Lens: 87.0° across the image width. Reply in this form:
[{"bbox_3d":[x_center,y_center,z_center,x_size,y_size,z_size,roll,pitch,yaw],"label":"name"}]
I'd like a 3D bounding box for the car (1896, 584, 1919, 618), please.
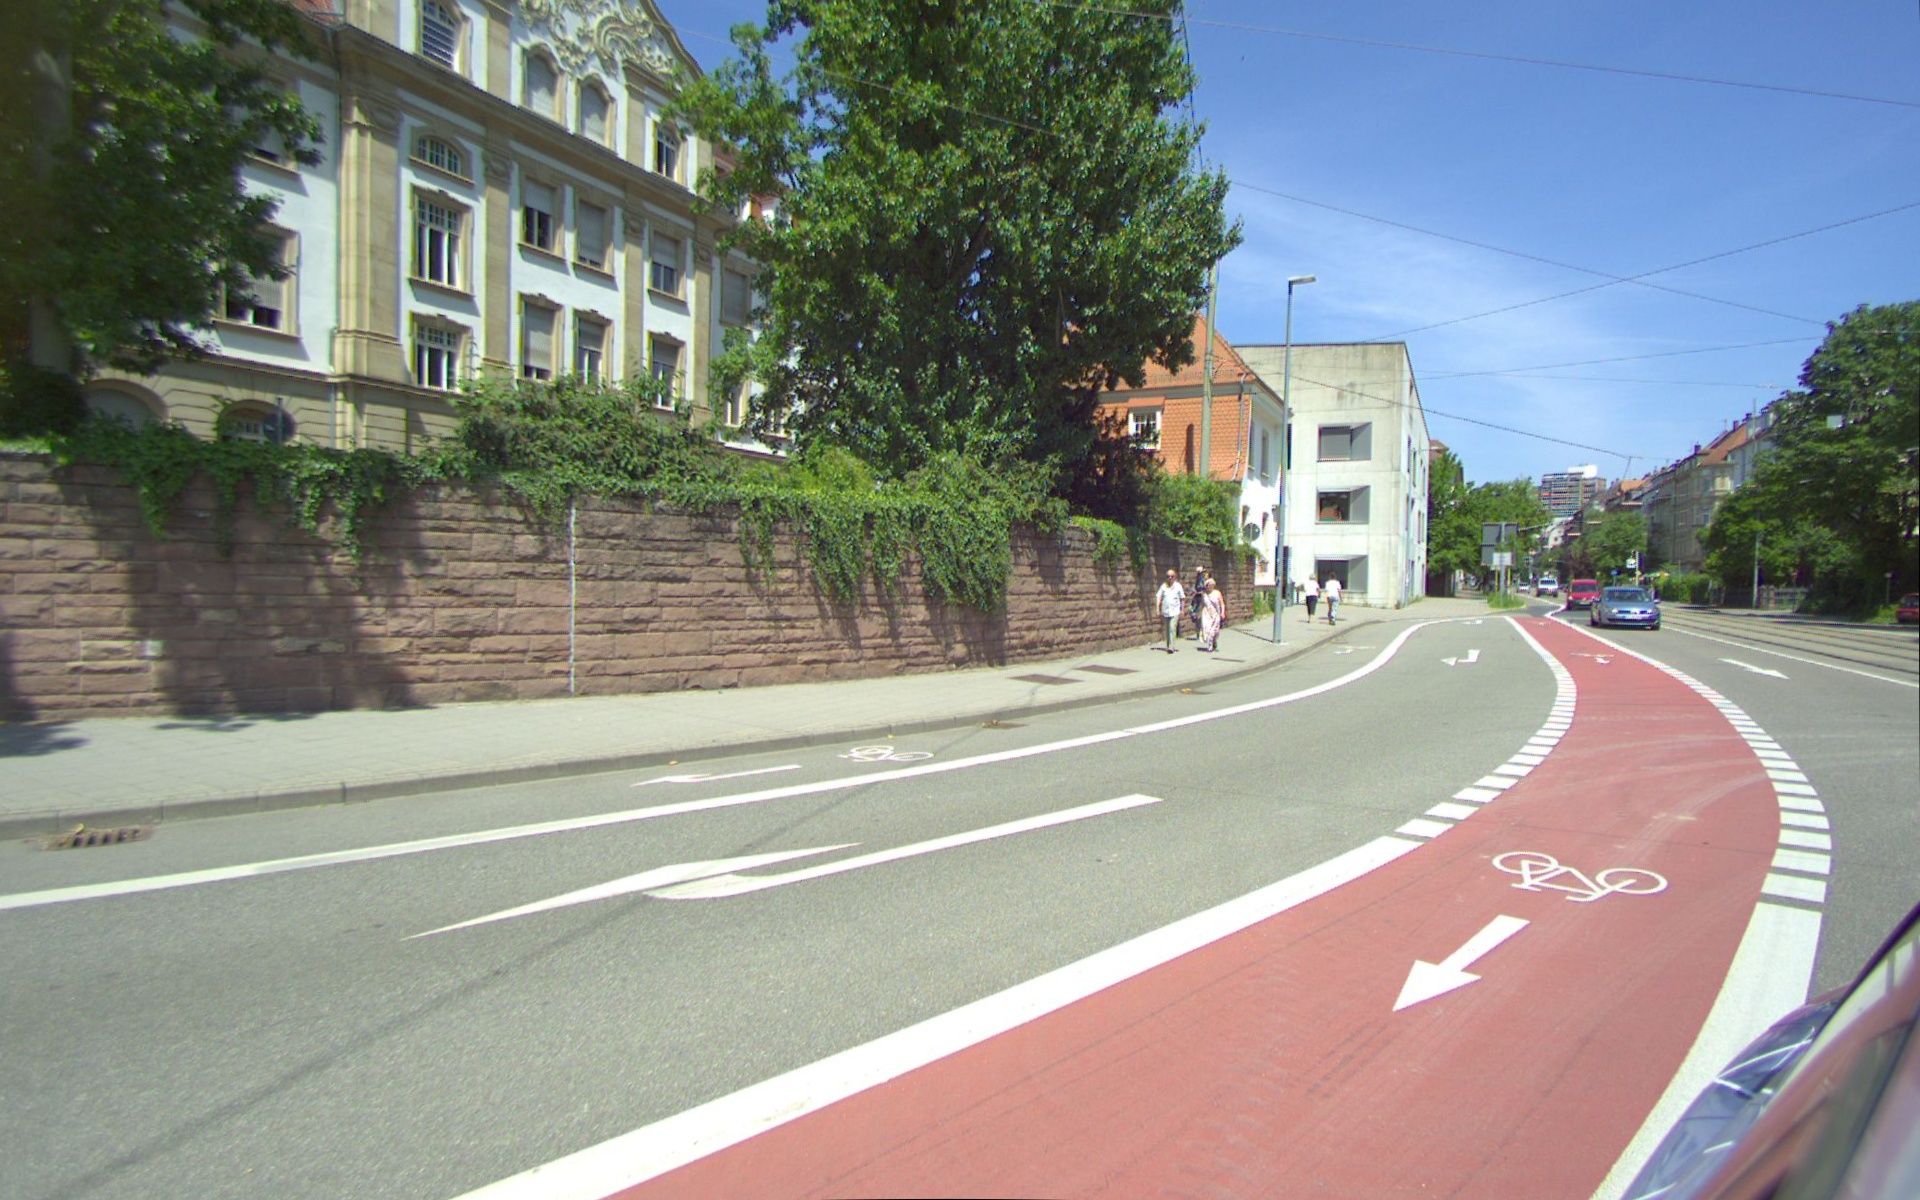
[{"bbox_3d":[45.651,0.032,46.689,3.291,1.535,1.669,0,1,2],"label":"car"}]

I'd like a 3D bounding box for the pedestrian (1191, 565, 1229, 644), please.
[{"bbox_3d":[5.826,0.092,23.610,0.712,1.795,0.623,1,0,29],"label":"pedestrian"}]

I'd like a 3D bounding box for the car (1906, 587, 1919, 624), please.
[{"bbox_3d":[43.573,0.234,43.510,4.239,1.604,1.670,0,1,-1],"label":"car"}]

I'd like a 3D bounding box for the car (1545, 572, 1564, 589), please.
[{"bbox_3d":[63.024,-2.055,107.368,1.606,1.730,3.396,1,2,28],"label":"car"}]

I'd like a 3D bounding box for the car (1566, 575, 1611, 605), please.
[{"bbox_3d":[36.864,-0.629,59.415,1.858,1.667,3.745,1,2,27],"label":"car"}]

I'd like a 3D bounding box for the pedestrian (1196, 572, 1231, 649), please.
[{"bbox_3d":[5.243,0.197,20.930,0.513,1.552,0.590,2,1,33],"label":"pedestrian"}]

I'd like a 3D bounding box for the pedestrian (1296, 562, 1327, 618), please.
[{"bbox_3d":[11.836,-0.337,34.077,0.810,1.830,0.692,2,1,32],"label":"pedestrian"}]

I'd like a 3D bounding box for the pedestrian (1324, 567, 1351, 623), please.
[{"bbox_3d":[12.545,-0.179,33.654,0.674,1.830,0.739,2,1,32],"label":"pedestrian"}]

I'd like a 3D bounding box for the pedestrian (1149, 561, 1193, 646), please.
[{"bbox_3d":[4.256,0.058,20.393,0.658,1.667,0.617,2,1,33],"label":"pedestrian"}]

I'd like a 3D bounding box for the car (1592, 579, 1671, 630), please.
[{"bbox_3d":[23.631,0.113,35.749,1.877,1.589,4.000,1,2,27],"label":"car"}]

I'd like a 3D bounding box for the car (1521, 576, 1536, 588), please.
[{"bbox_3d":[85.062,-2.715,151.408,1.868,1.705,3.334,1,2,29],"label":"car"}]
